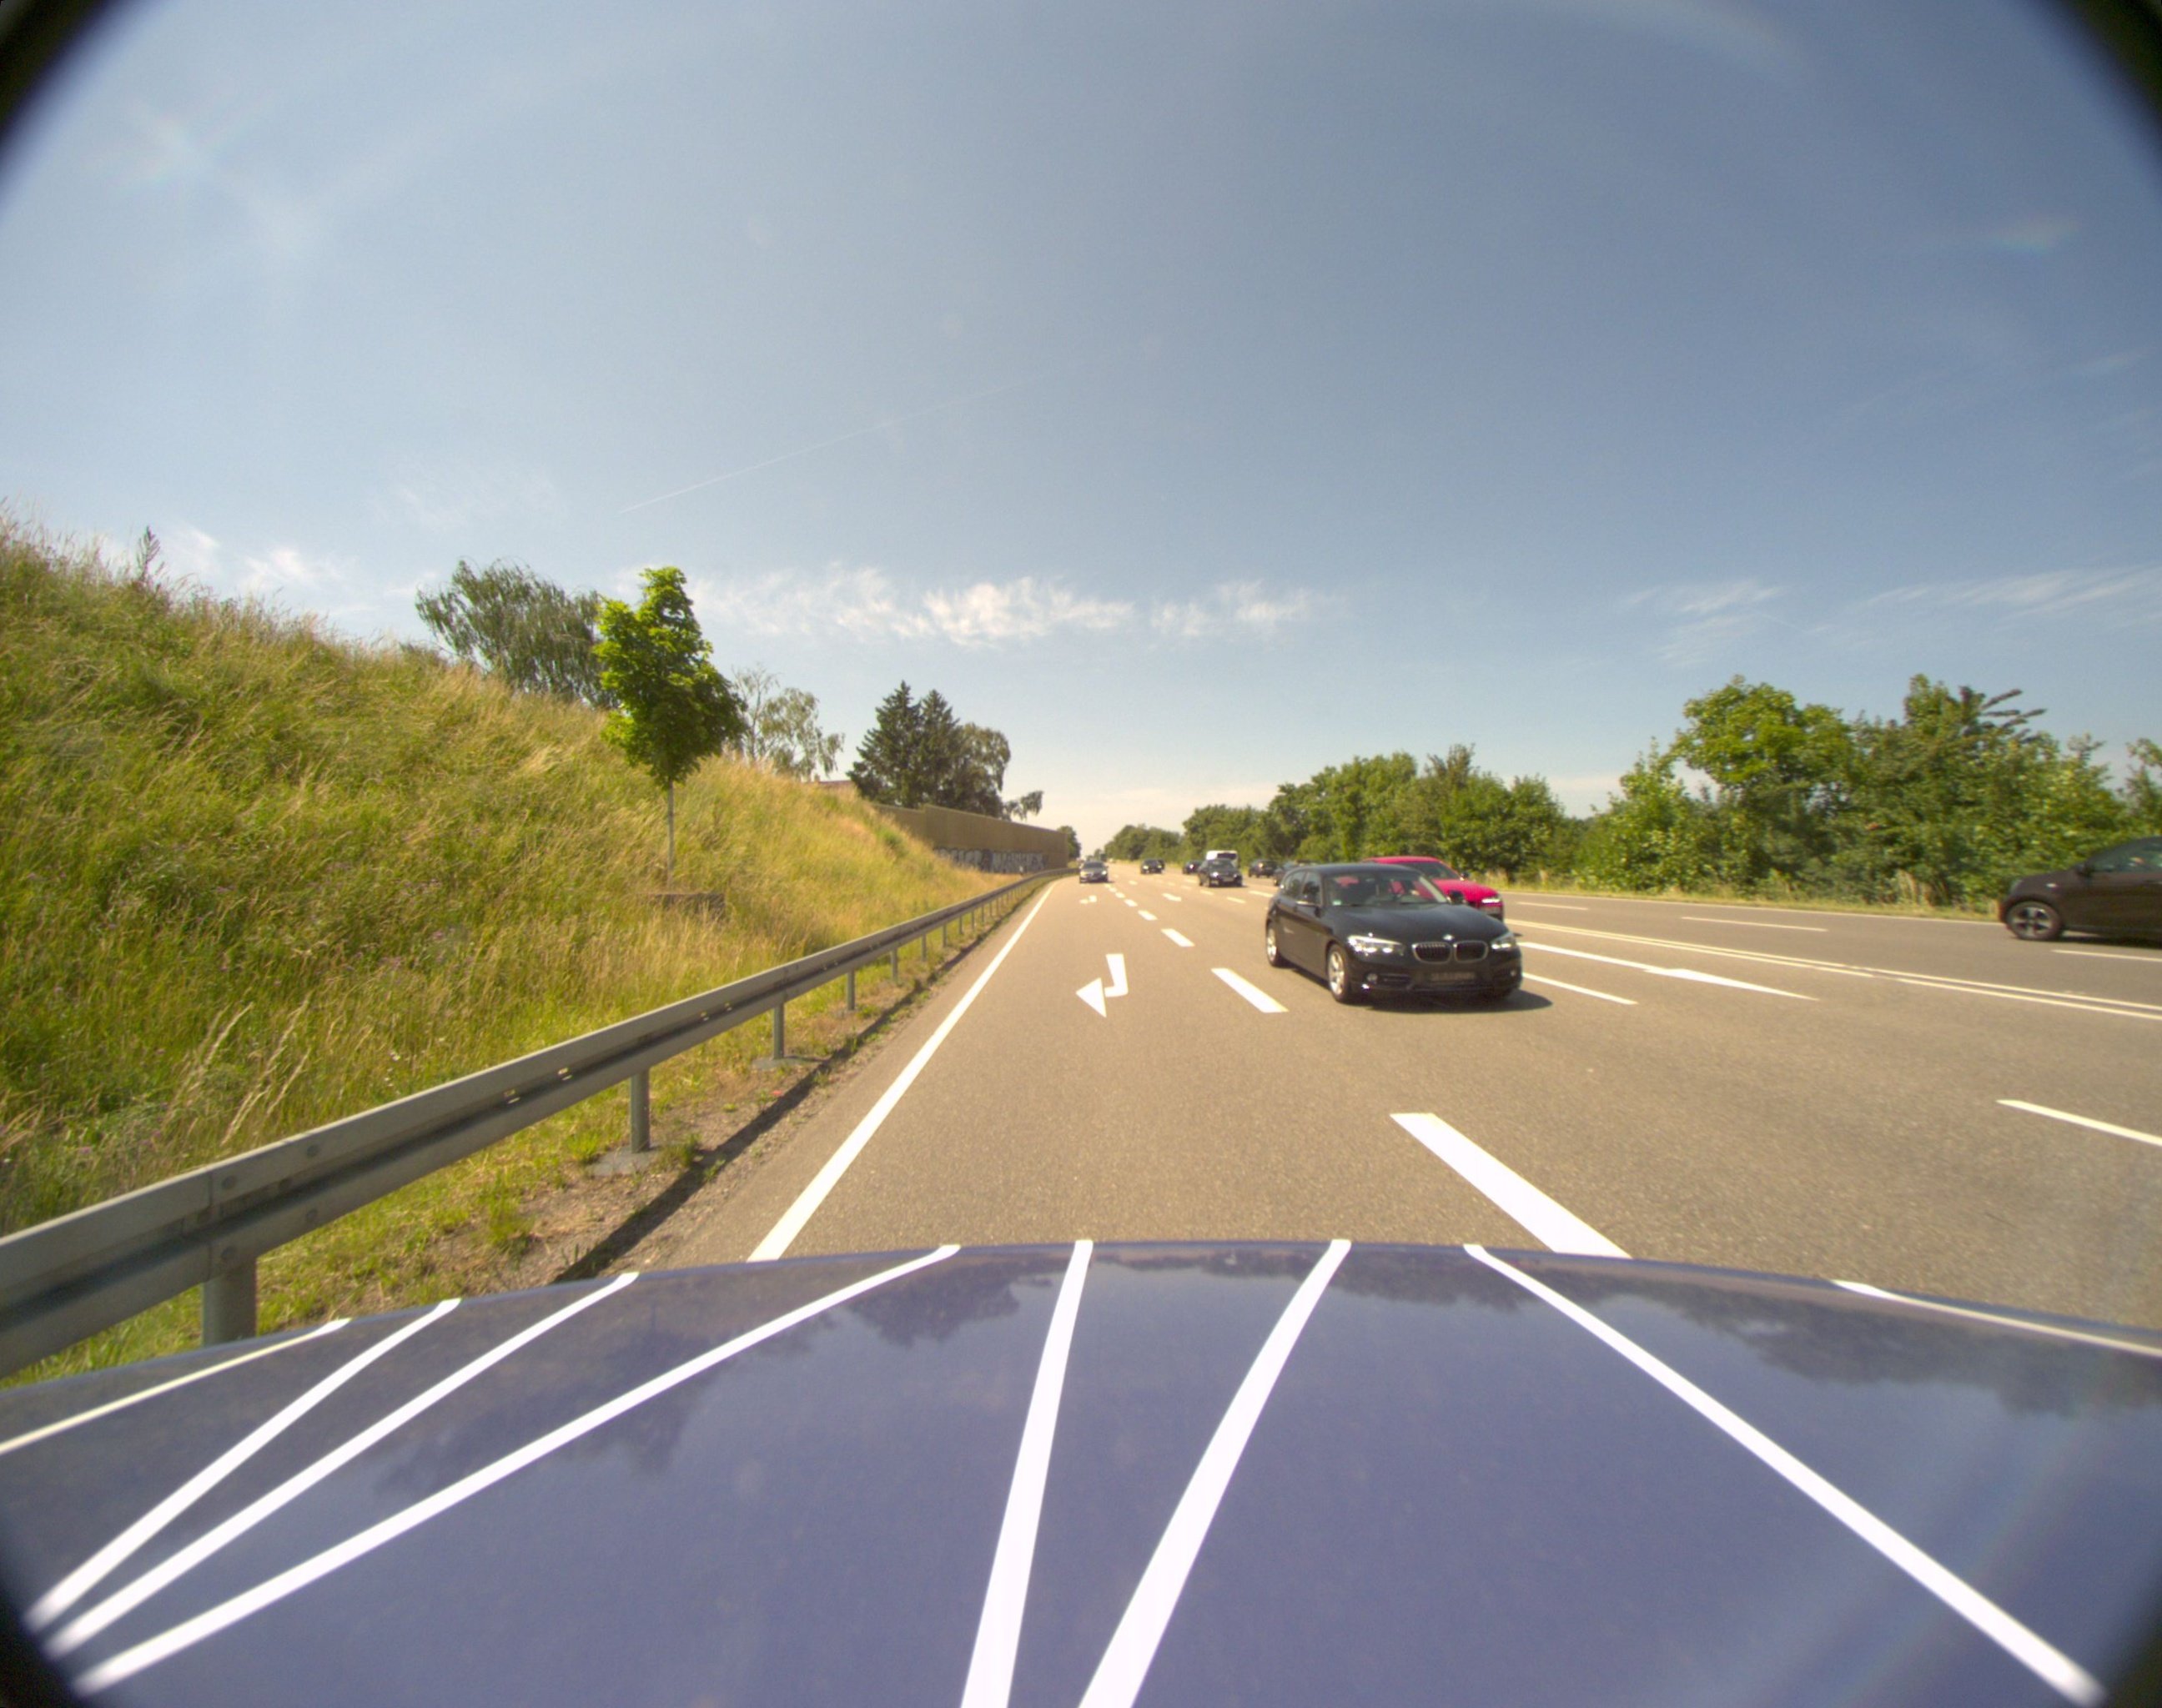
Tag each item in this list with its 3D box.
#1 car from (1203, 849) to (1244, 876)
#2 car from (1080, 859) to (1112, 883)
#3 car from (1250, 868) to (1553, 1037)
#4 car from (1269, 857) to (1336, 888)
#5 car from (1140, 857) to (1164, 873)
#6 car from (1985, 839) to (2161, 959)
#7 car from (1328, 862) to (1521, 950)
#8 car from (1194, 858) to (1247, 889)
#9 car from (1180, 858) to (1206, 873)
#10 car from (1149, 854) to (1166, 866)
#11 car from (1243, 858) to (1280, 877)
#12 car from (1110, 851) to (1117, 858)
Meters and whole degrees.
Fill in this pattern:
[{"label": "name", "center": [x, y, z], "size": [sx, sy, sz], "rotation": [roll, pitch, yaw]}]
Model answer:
[{"label": "car", "center": [10.401, 0.615, 55.902], "size": [1.910, 1.906, 5.050], "rotation": [0, 0, -2]}, {"label": "car", "center": [1.007, 1.074, 49.962], "size": [1.893, 1.439, 4.526], "rotation": [-2, 0, 3]}, {"label": "car", "center": [3.415, 0.942, 9.124], "size": [1.788, 1.422, 4.381], "rotation": [-2, 0, 1]}, {"label": "car", "center": [10.400, 0.835, 36.027], "size": [1.809, 1.272, 4.765], "rotation": [-2, 0, 0]}, {"label": "car", "center": [6.905, 1.048, 74.004], "size": [1.893, 1.439, 4.526], "rotation": [-2, 0, 1]}, {"label": "car", "center": [14.380, 0.556, 9.592], "size": [1.649, 1.479, 3.558], "rotation": [-2, 0, -1]}, {"label": "car", "center": [6.547, 0.907, 15.123], "size": [1.753, 1.413, 4.566], "rotation": [-2, 0, 0]}, {"label": "car", "center": [7.031, 0.925, 38.610], "size": [1.679, 1.403, 4.466], "rotation": [-2, 0, -2]}, {"label": "car", "center": [10.428, 1.015, 71.101], "size": [1.555, 1.326, 4.854], "rotation": [-1, 0, -2]}, {"label": "car", "center": [10.392, 0.821, 103.477], "size": [1.893, 1.527, 4.526], "rotation": [-2, 0, 1]}, {"label": "car", "center": [14.130, 1.041, 59.672], "size": [1.663, 1.453, 4.342], "rotation": [-1, 0, -2]}, {"label": "car", "center": [9.952, 0.101, 230.813], "size": [1.747, 1.808, 3.999], "rotation": [-2, 1, -1]}]
